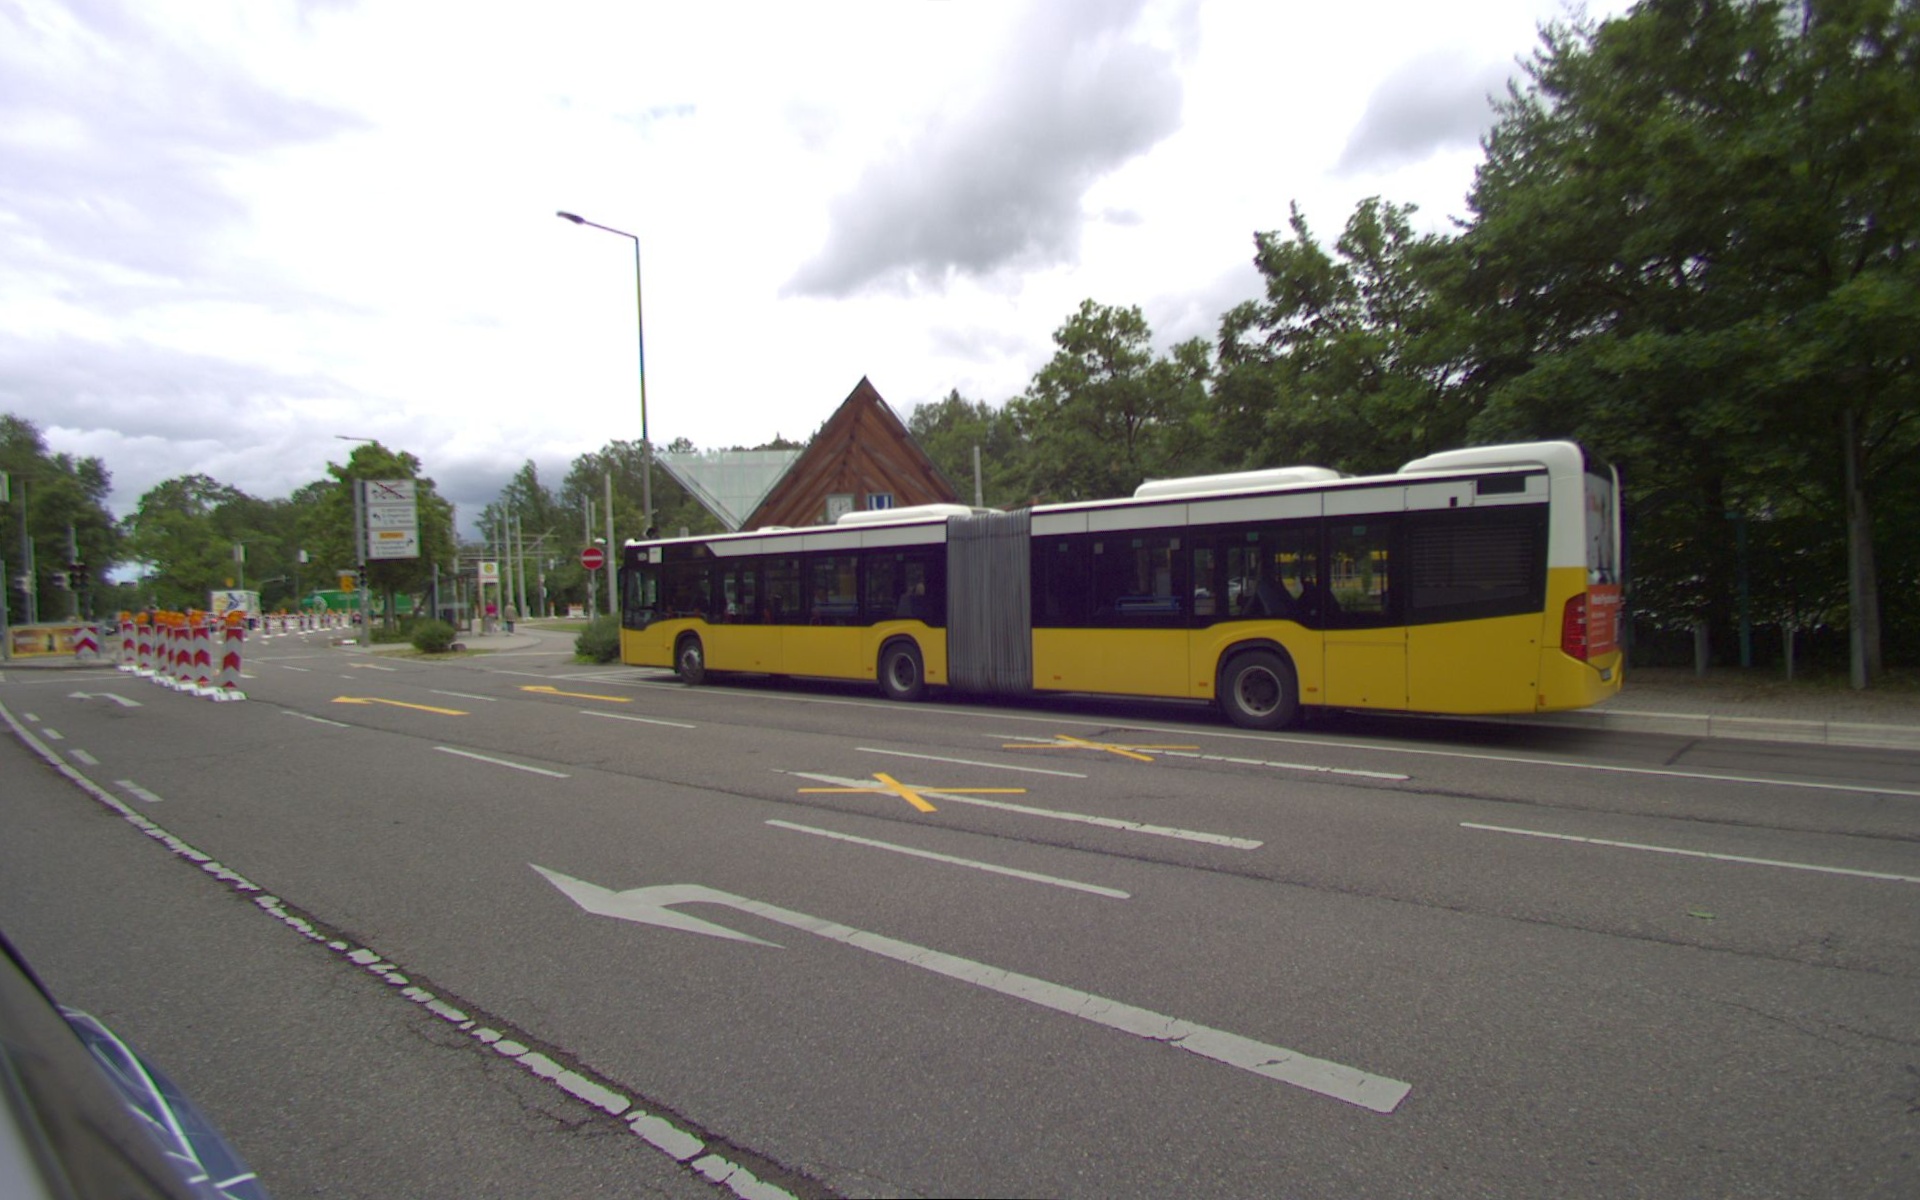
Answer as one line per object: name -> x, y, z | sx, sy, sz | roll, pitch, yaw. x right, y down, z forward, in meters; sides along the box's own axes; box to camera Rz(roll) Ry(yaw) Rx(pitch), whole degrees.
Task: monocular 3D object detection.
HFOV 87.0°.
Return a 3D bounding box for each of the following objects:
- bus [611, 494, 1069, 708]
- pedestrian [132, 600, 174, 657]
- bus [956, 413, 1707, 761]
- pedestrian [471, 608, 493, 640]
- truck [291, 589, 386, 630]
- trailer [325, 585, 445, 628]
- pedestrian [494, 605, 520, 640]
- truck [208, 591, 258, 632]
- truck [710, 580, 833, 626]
bus -> -2.769, 0.080, 19.236 | 9.755, 3.150, 2.868 | -1, -1, 41
pedestrian -> -27.001, 0.950, 33.875 | 0.979, 1.822, 0.767 | -3, 1, -42
bus -> 4.146, -0.061, 13.121 | 8.690, 3.150, 2.868 | -1, -1, 41
pedestrian -> -23.975, 1.201, 50.725 | 0.779, 1.563, 0.777 | -3, 1, -38
truck -> -66.999, 1.005, 109.147 | 8.690, 3.910, 3.771 | -3, 1, 15
trailer -> -61.038, 0.715, 107.502 | 11.758, 3.910, 3.770 | -3, 1, 15
pedestrian -> -20.592, 1.003, 46.015 | 0.861, 1.536, 0.770 | -3, 1, -14
truck -> -59.260, 0.942, 82.618 | 2.592, 3.263, 6.225 | 0, -1, -29
truck -> -10.428, 0.191, 55.995 | 6.263, 2.186, 2.587 | -3, 1, 24
